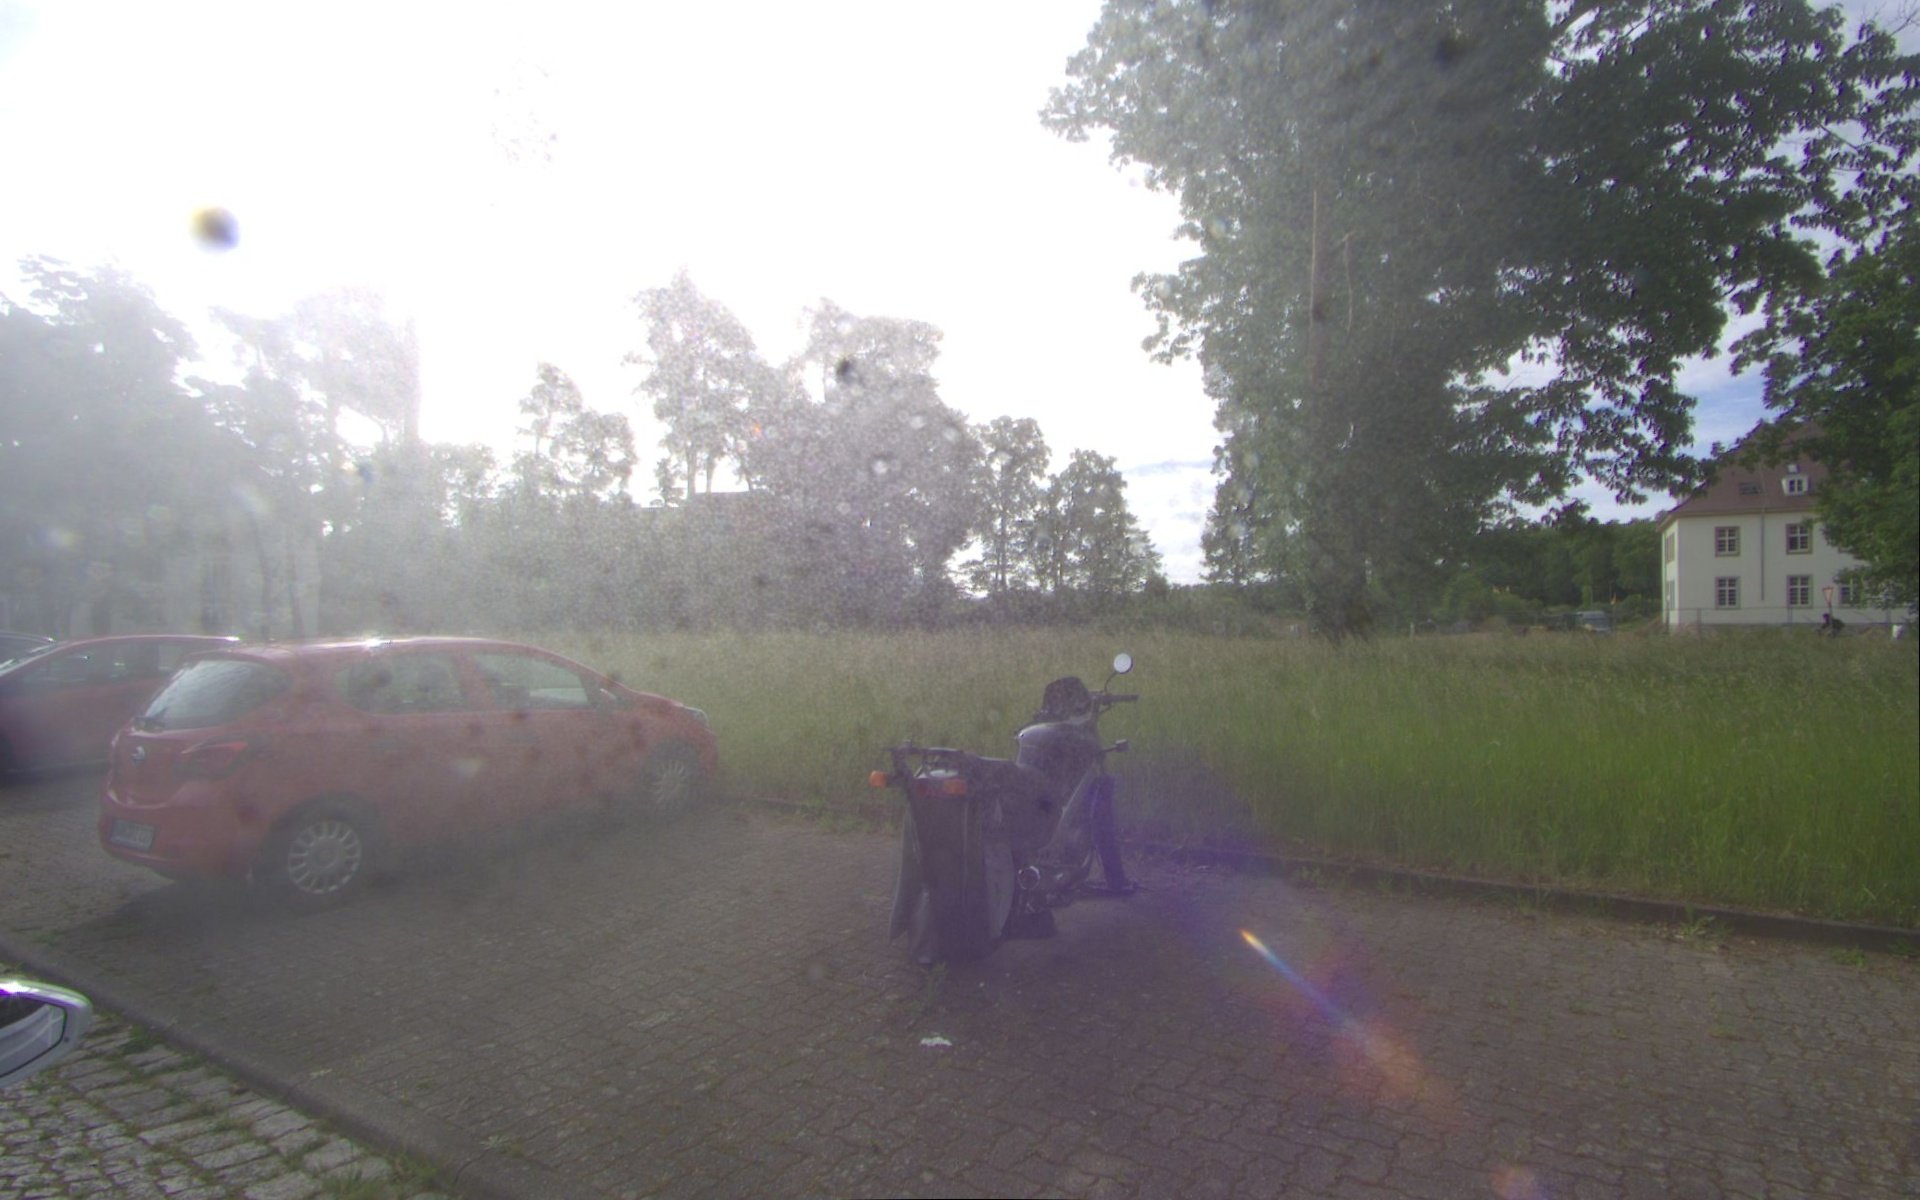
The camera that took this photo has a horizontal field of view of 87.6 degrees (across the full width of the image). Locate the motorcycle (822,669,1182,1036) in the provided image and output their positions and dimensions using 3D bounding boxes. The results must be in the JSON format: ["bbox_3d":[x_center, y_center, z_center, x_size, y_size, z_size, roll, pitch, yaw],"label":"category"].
[{"bbox_3d":[0.353,1.007,4.870,0.783,1.201,2.324,-1,0,29],"label":"motorcycle"}]

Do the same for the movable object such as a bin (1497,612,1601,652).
[{"bbox_3d":[41.295,2.281,70.309,2.152,2.688,5.928,1,-2,-40],"label":"movable object such as a bin"}]

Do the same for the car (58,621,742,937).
[{"bbox_3d":[-3.536,0.939,7.035,1.754,1.479,3.818,-1,0,31],"label":"car"}]

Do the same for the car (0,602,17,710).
[{"bbox_3d":[-19.586,1.059,17.082,1.903,1.980,4.747,-1,0,30],"label":"car"}]

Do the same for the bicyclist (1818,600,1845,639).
[{"bbox_3d":[38.519,0.871,44.266,0.761,1.717,0.724,-1,-1,32],"label":"bicyclist"}]

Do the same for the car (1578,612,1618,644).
[{"bbox_3d":[49.550,2.216,77.866,1.886,2.377,4.585,-1,-2,24],"label":"car"}]

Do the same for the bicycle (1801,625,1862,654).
[{"bbox_3d":[38.475,1.733,44.234,1.904,1.244,0.722,-1,-2,31],"label":"bicycle"}]

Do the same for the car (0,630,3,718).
[{"bbox_3d":[-17.558,1.260,15.500,1.590,1.468,3.667,-1,0,29],"label":"car"}]

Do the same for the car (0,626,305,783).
[{"bbox_3d":[-9.781,1.088,11.141,1.726,1.479,3.784,-1,0,32],"label":"car"}]

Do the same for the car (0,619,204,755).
[{"bbox_3d":[-12.098,1.075,12.379,1.725,1.573,4.023,-1,0,30],"label":"car"}]
